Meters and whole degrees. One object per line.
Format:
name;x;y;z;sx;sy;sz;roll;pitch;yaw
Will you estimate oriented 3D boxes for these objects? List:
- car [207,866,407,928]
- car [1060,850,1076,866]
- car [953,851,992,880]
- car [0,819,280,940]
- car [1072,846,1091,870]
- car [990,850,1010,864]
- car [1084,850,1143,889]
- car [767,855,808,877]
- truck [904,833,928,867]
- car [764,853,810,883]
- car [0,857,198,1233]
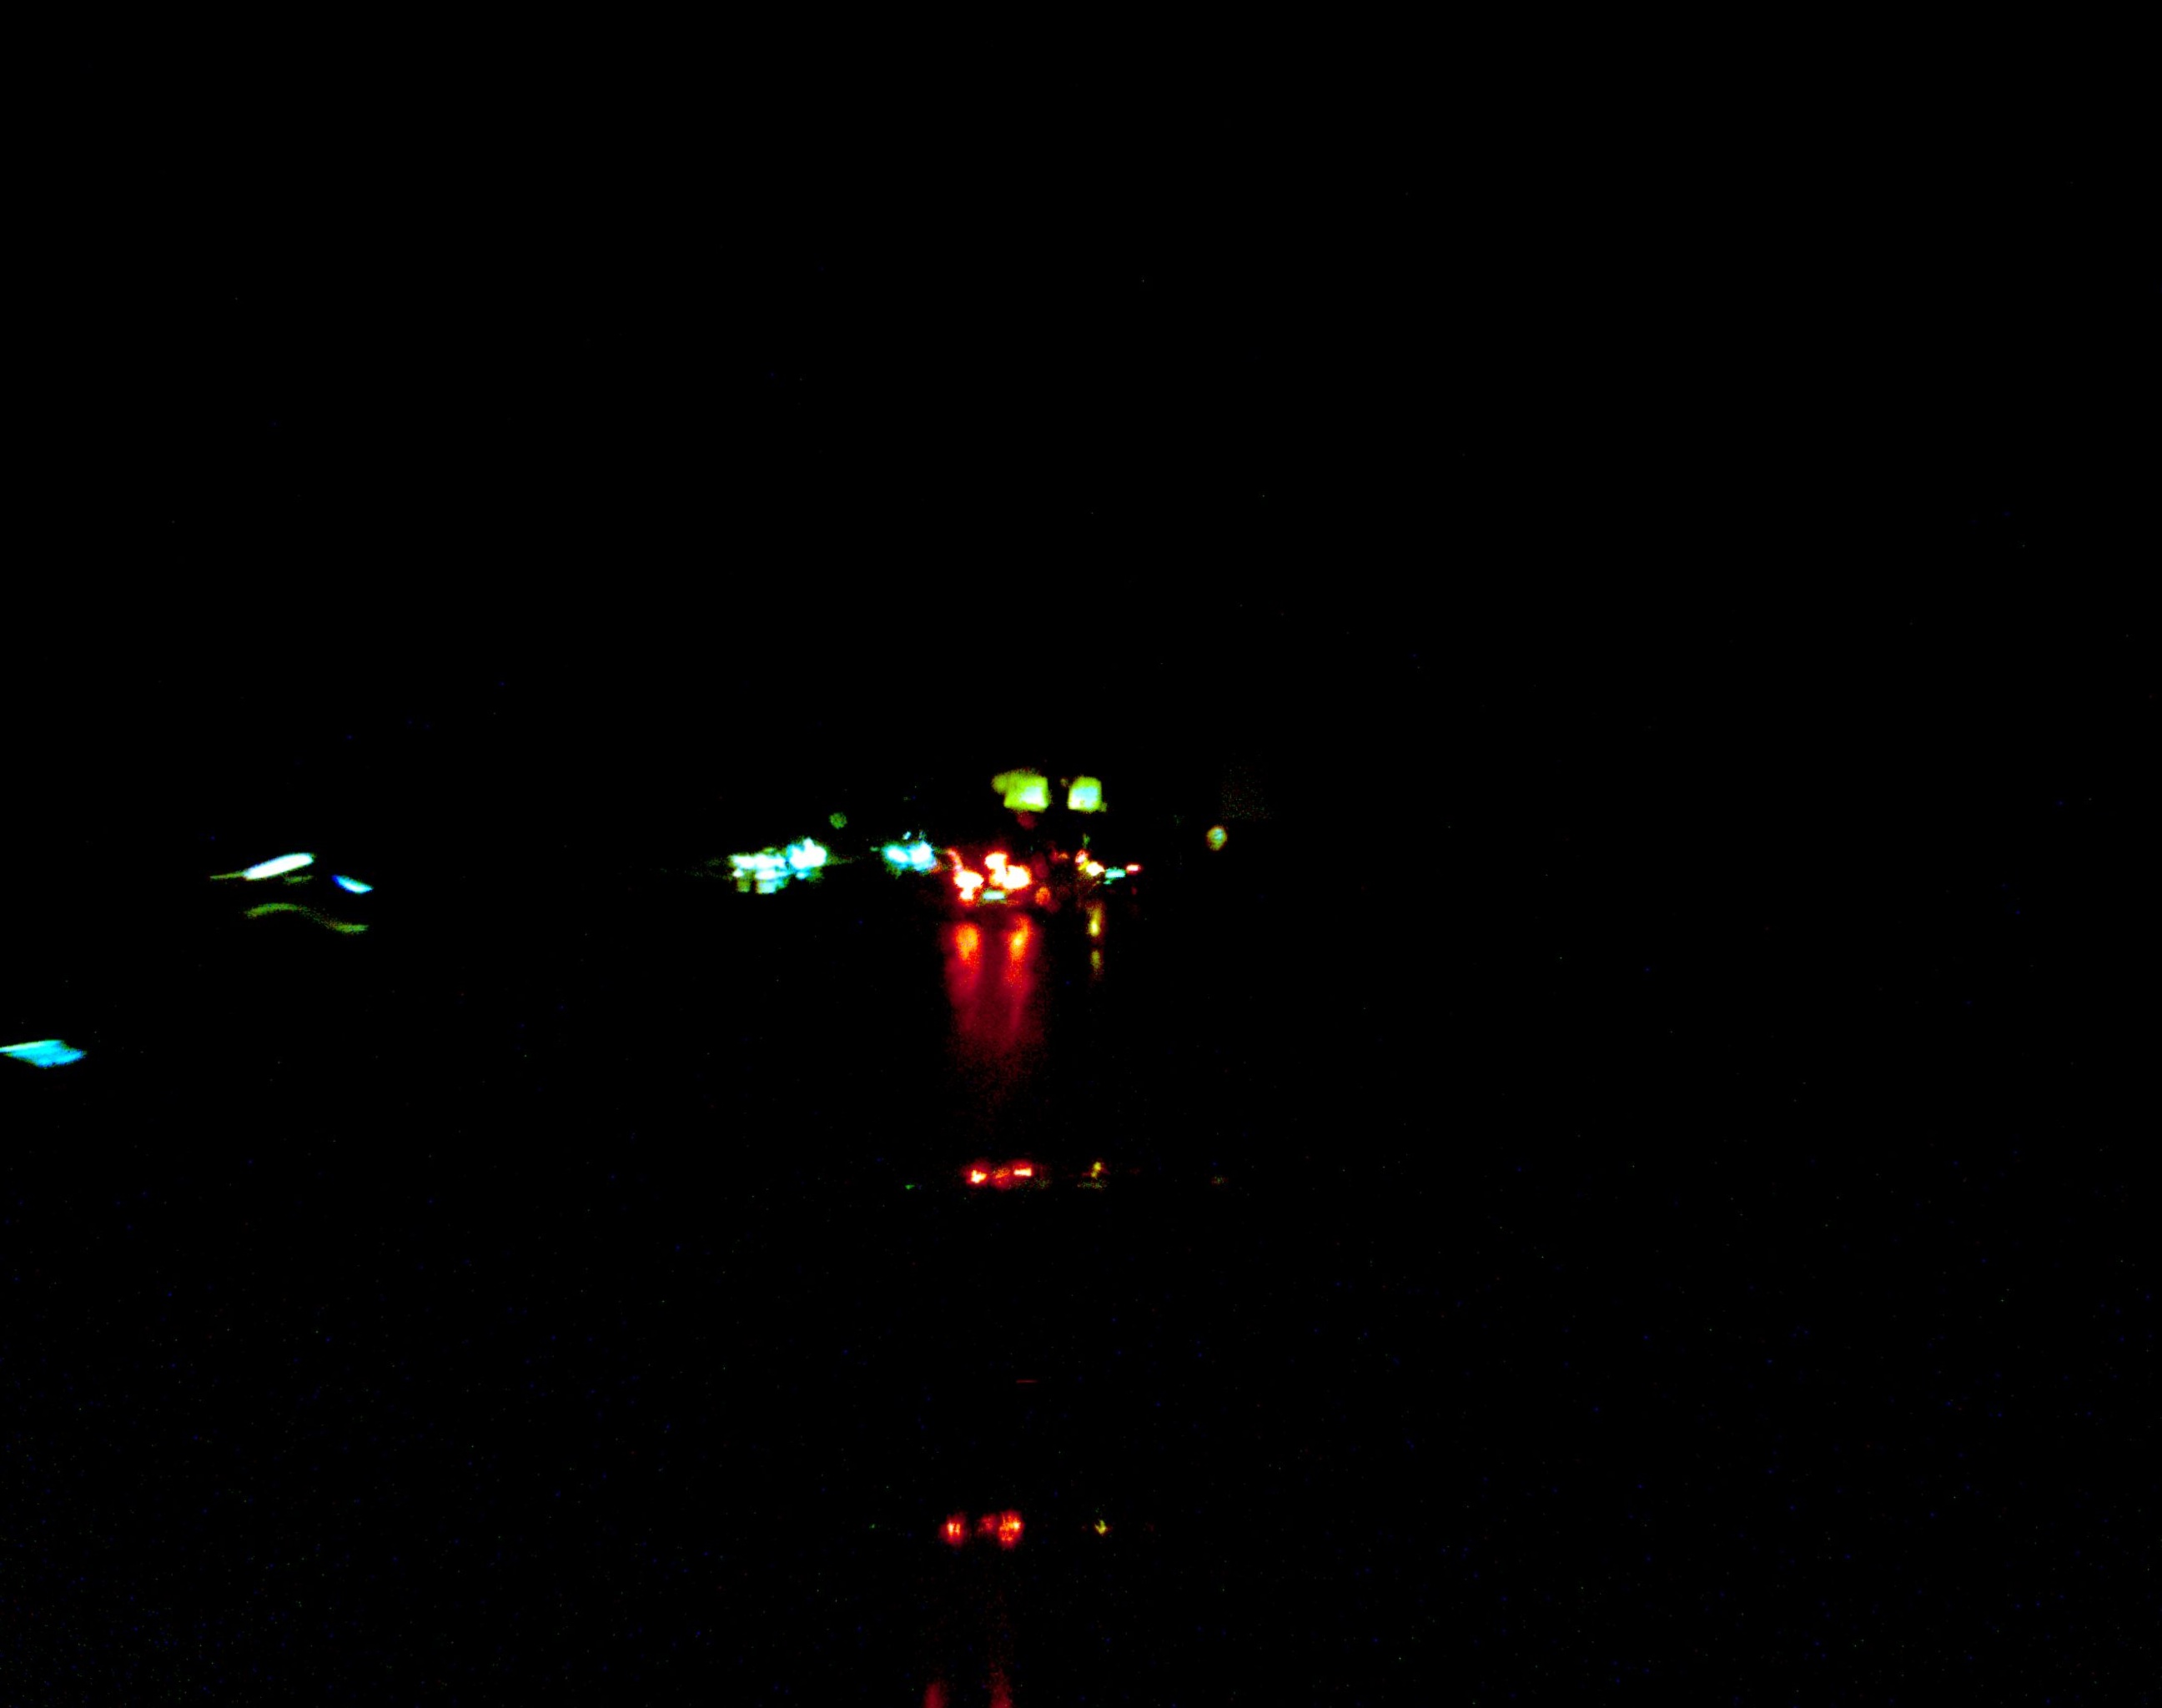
car;-20.698;1.093;22.023;1.758;1.495;3.803;-1;0;0
car;-1.694;0.534;106.526;1.988;2.014;3.997;-1;-1;-1
car;-6.087;0.654;45.984;1.888;1.550;3.994;-1;0;-4
car;-16.822;0.375;13.201;2.035;1.768;5.596;0;0;1
car;0.055;0.315;69.909;1.549;2.013;3.999;-1;0;-1
car;-9.215;0.289;92.572;1.890;1.545;3.998;-1;0;-1
car;1.138;0.580;30.763;1.957;1.380;4.046;0;-1;-2
car;-23.526;0.942;65.502;1.837;1.648;4.329;-1;0;-2
truck;-21.825;-0.521;108.146;2.562;4.404;5.837;0;-1;-6
car;-18.029;0.828;50.018;1.548;1.723;3.164;-1;0;2
car;-5.268;0.788;1.568;1.762;1.517;4.914;-1;0;0
